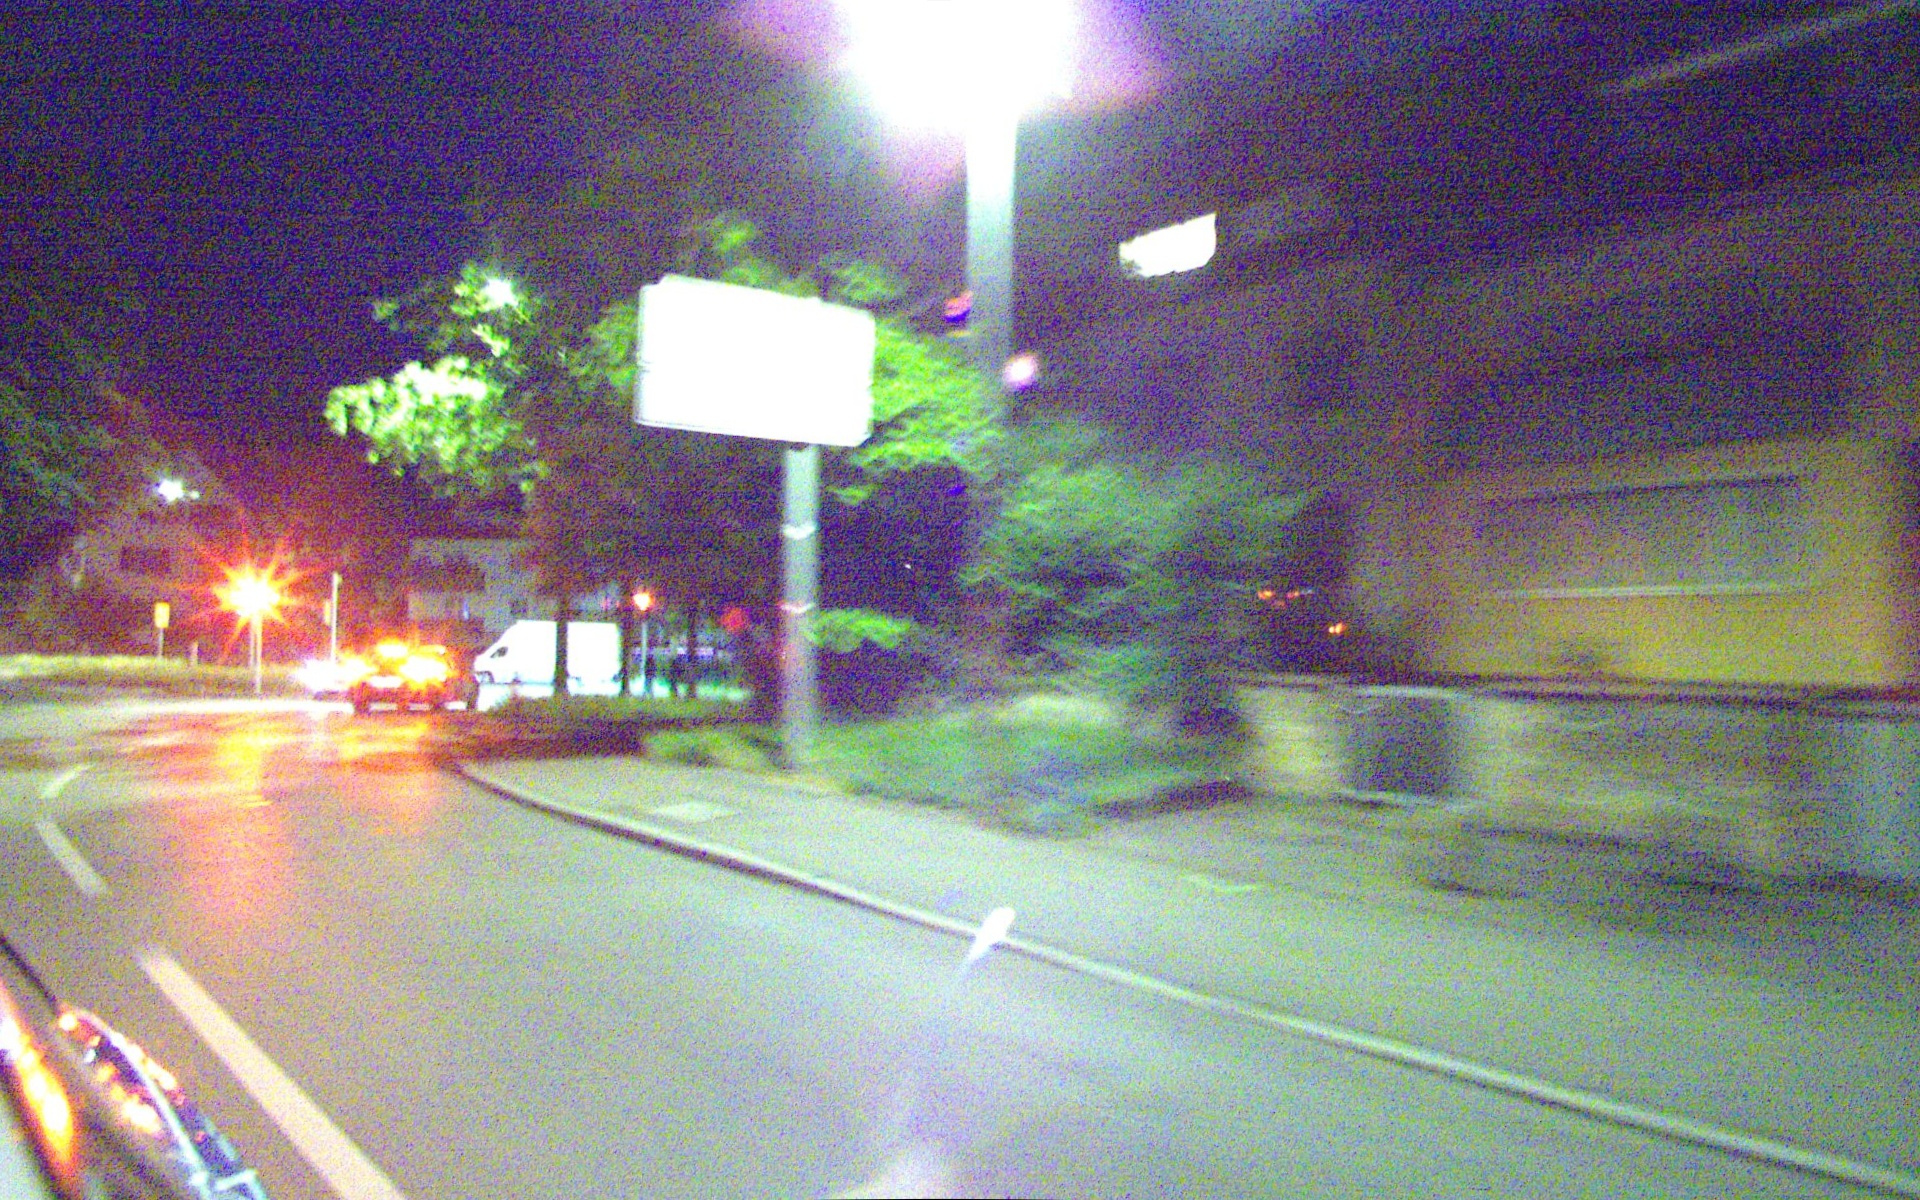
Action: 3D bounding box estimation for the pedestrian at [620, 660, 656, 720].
[{"bbox_3d":[-9.799,2.743,30.828,0.719,1.783,0.965,1,-5,1],"label":"pedestrian"}]

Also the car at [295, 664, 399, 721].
[{"bbox_3d":[-17.279,2.593,28.666,1.489,1.513,3.056,2,-5,-11],"label":"car"}]

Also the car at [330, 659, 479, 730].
[{"bbox_3d":[-12.353,2.136,22.820,1.703,1.441,4.299,1,-6,-12],"label":"car"}]

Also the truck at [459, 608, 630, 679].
[{"bbox_3d":[-19.555,2.005,47.983,6.932,3.067,2.775,2,-1,-3],"label":"truck"}]

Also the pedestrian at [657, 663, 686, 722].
[{"bbox_3d":[-8.999,2.876,31.622,0.519,1.806,0.689,0,-5,15],"label":"pedestrian"}]
